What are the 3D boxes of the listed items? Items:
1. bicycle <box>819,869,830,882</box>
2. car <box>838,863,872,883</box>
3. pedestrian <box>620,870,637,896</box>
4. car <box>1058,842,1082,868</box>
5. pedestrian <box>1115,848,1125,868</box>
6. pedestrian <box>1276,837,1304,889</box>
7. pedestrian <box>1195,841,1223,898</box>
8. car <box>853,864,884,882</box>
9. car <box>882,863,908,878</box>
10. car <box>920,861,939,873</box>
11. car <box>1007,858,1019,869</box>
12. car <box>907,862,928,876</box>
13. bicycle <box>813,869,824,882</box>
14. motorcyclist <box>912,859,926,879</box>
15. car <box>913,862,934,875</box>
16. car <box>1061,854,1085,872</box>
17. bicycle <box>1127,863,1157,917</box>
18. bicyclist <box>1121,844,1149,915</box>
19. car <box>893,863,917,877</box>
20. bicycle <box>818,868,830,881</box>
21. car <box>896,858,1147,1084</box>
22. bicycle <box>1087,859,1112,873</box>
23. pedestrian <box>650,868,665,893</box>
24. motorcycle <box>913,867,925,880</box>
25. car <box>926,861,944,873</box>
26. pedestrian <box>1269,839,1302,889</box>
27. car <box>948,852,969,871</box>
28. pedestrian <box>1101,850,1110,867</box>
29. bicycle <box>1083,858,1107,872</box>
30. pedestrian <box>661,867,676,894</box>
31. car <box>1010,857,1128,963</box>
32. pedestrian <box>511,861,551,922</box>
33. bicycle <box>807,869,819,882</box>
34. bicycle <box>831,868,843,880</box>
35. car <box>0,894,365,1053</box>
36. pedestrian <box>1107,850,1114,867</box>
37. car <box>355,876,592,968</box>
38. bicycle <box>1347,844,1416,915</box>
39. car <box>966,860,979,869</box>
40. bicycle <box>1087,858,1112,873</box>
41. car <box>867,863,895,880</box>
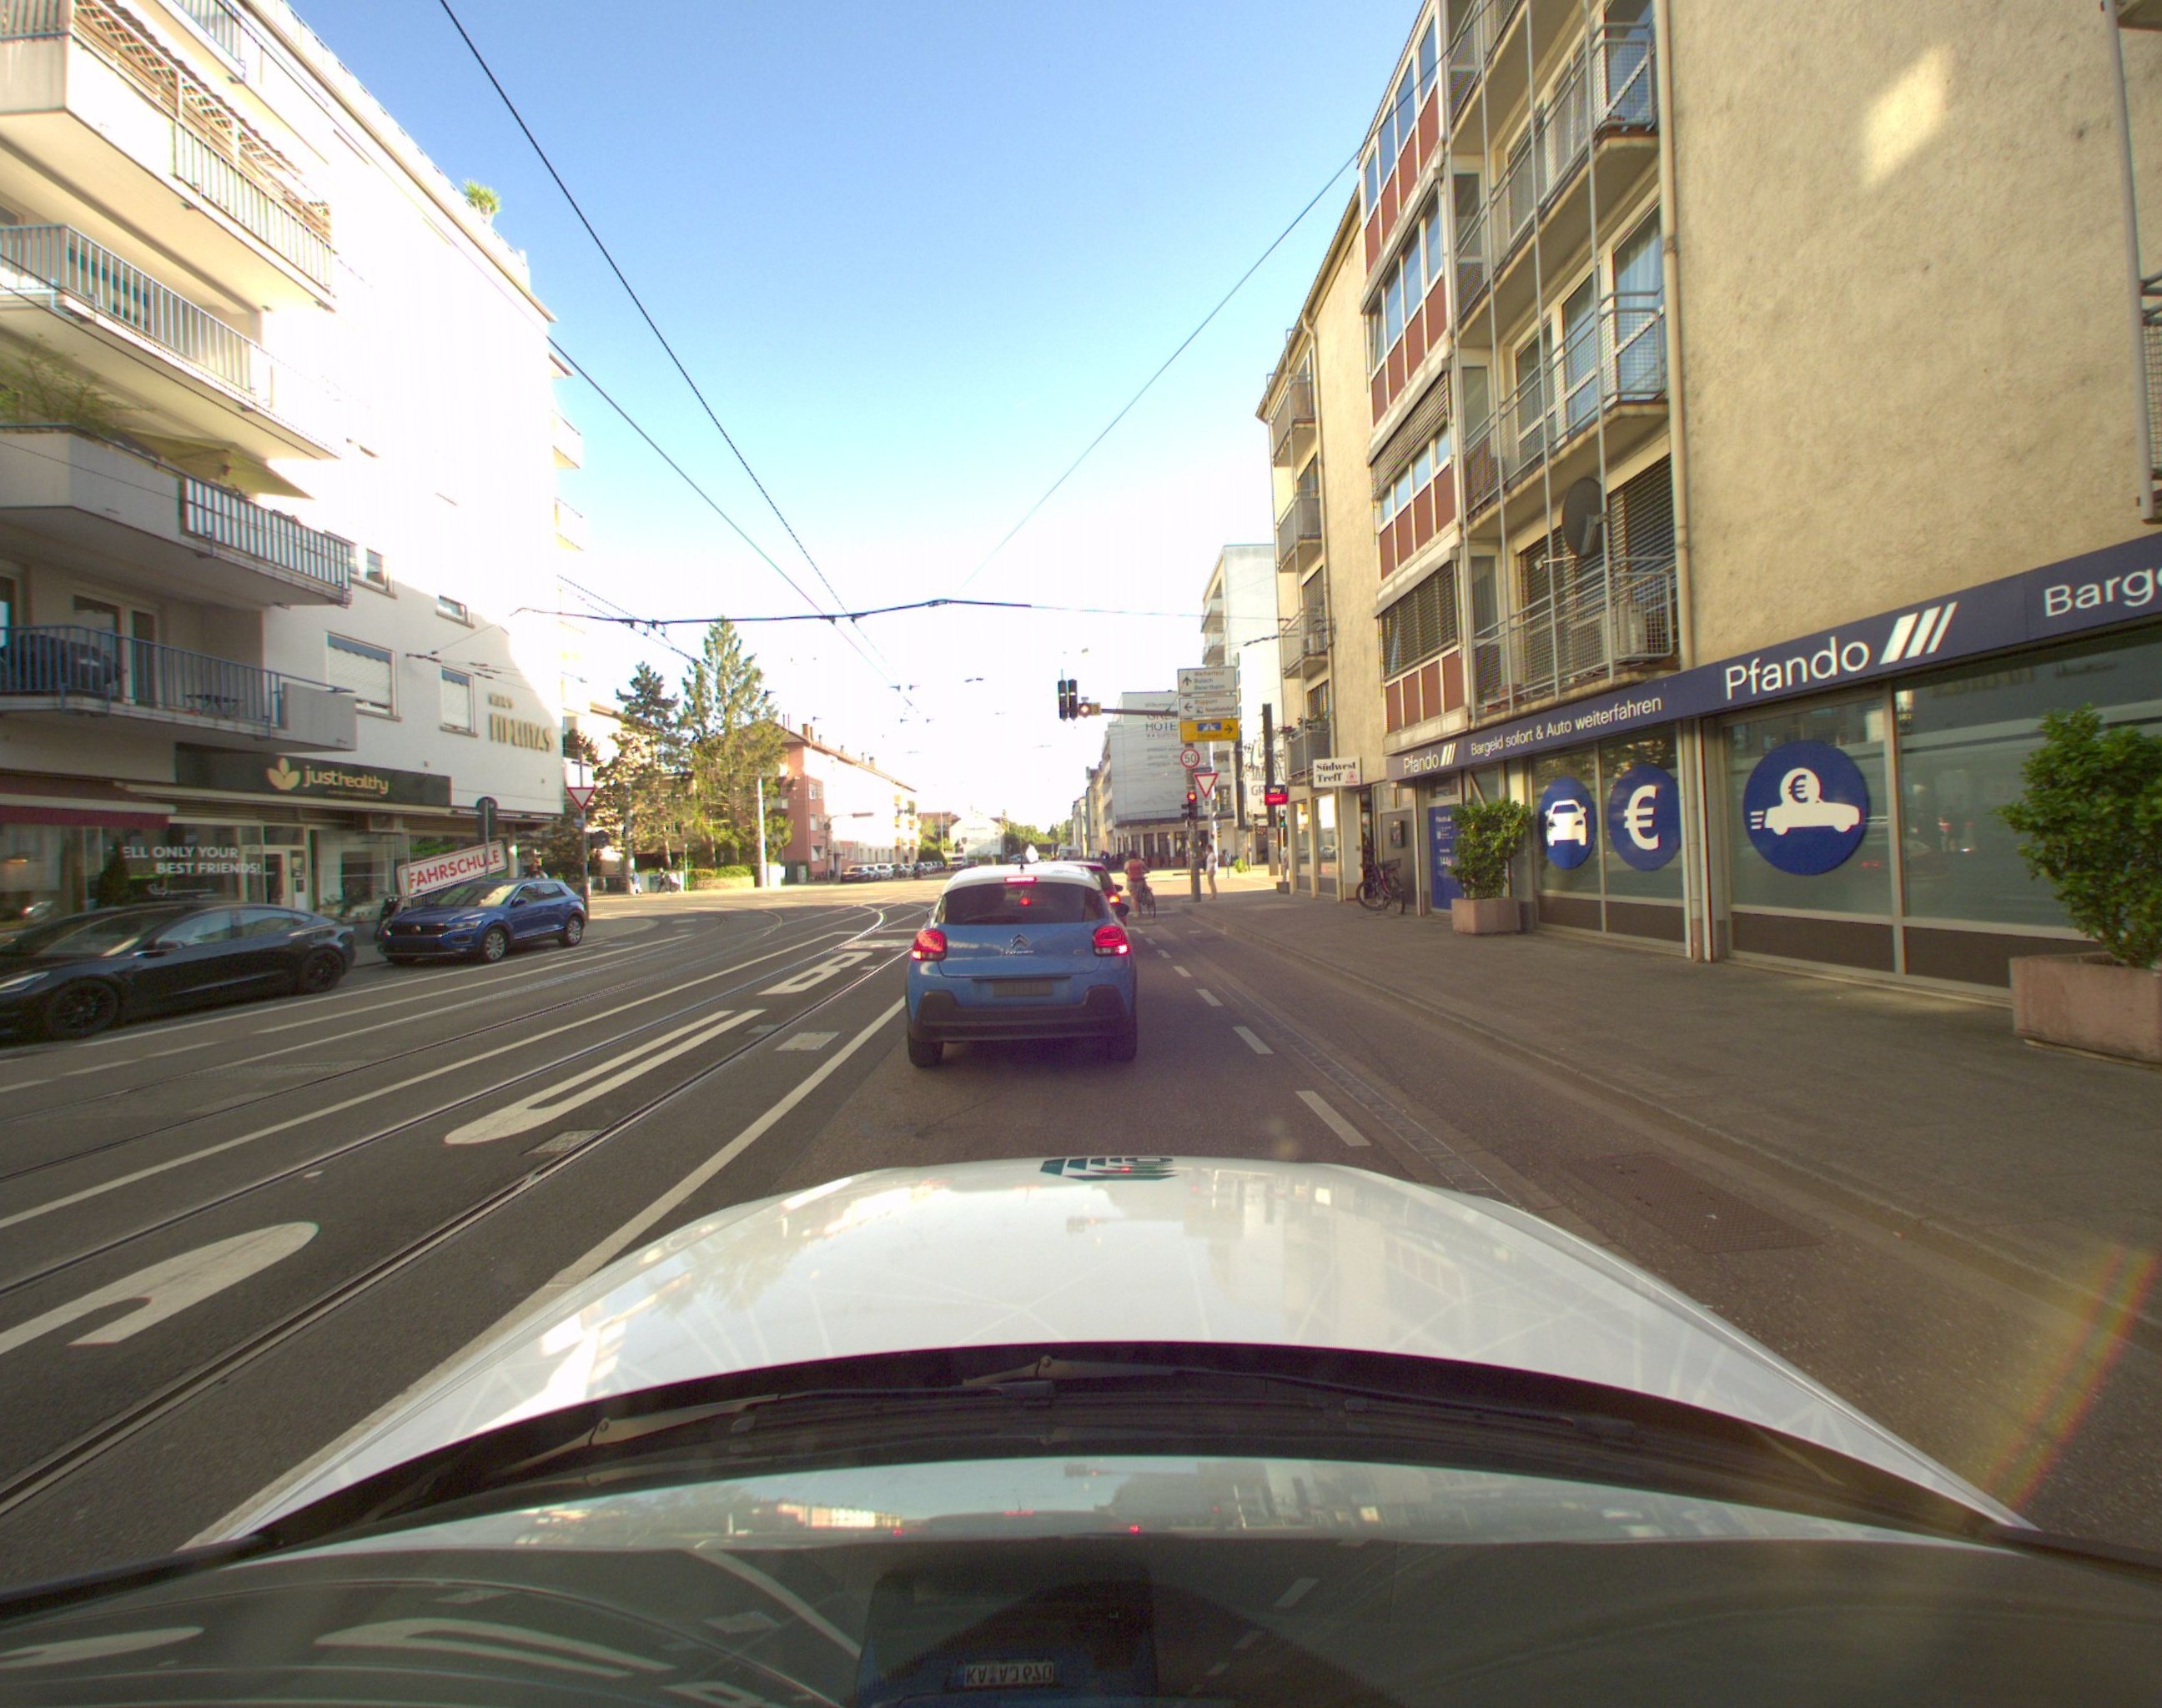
[{"bbox_3d":[-21.595,1.792,68.473,0.537,1.082,1.905,-2,0,-9],"label":"bicycle"},{"bbox_3d":[-19.290,1.599,69.620,1.947,1.519,3.995,-2,0,-4],"label":"car"},{"bbox_3d":[-31.051,1.973,55.946,0.810,1.702,0.677,-2,0,-15],"label":"pedestrian"},{"bbox_3d":[-1.038,0.085,73.449,2.074,2.269,5.647,-1,0,-2],"label":"car"},{"bbox_3d":[3.356,0.342,70.224,0.558,1.647,0.532,-2,0,-42],"label":"pedestrian"},{"bbox_3d":[6.803,0.296,26.530,0.731,1.647,0.757,-2,0,21],"label":"pedestrian"},{"bbox_3d":[3.842,0.455,24.417,0.747,1.635,0.742,-2,0,7],"label":"pedestrian"},{"bbox_3d":[-19.571,1.716,75.244,1.947,1.519,4.040,-2,0,-4],"label":"car"},{"bbox_3d":[-19.730,1.737,86.529,1.947,1.519,3.995,-2,0,-4],"label":"car"},{"bbox_3d":[-20.300,1.769,109.328,1.947,1.519,3.995,-2,0,-4],"label":"car"},{"bbox_3d":[-14.271,1.972,171.412,2.333,2.039,5.044,-2,0,-4],"label":"car"},{"bbox_3d":[-19.853,1.782,99.026,1.947,1.519,3.995,-2,0,-4],"label":"car"},{"bbox_3d":[-21.973,1.792,68.188,0.537,1.082,1.905,-2,0,-9],"label":"bicycle"},{"bbox_3d":[-13.473,1.268,67.694,0.990,1.631,0.737,-2,0,-7],"label":"motorcyclist"},{"bbox_3d":[-20.099,1.797,104.039,1.947,1.519,3.995,-2,0,-4],"label":"car"},{"bbox_3d":[-0.715,0.741,67.988,1.783,1.359,3.909,-2,0,-4],"label":"car"},{"bbox_3d":[1.536,0.889,20.728,0.611,1.264,1.911,-2,0,2],"label":"bicycle"},{"bbox_3d":[1.372,0.635,20.695,0.598,1.746,1.084,-2,0,2],"label":"bicyclist"},{"bbox_3d":[-19.982,1.787,92.596,1.947,1.519,3.995,-2,0,-4],"label":"car"},{"bbox_3d":[-23.049,1.840,73.107,0.536,1.082,1.908,-2,0,-4],"label":"bicycle"},{"bbox_3d":[-0.448,0.793,7.501,1.675,1.462,3.997,-1,0,-2],"label":"car"},{"bbox_3d":[1.526,0.960,67.243,1.901,1.064,0.641,-2,0,-6],"label":"bicycle"},{"bbox_3d":[-28.808,1.802,55.390,0.812,1.702,0.629,-2,0,-22],"label":"pedestrian"},{"bbox_3d":[-13.483,1.596,67.762,0.751,0.976,2.092,-2,0,-7],"label":"motorcycle"},{"bbox_3d":[-20.727,1.848,115.684,1.947,1.519,3.995,-2,0,-4],"label":"car"},{"bbox_3d":[6.986,0.329,27.795,0.705,1.647,0.732,-2,0,-34],"label":"pedestrian"},{"bbox_3d":[-18.129,1.099,120.576,2.489,2.712,5.828,-2,0,-5],"label":"car"},{"bbox_3d":[2.104,0.395,70.381,0.520,1.420,0.550,-3,0,22],"label":"pedestrian"},{"bbox_3d":[1.160,0.952,68.446,1.901,1.064,0.641,-2,0,-6],"label":"bicycle"},{"bbox_3d":[-27.748,1.777,54.813,0.812,1.702,0.602,-2,0,-22],"label":"pedestrian"},{"bbox_3d":[-0.223,0.812,13.710,1.675,1.462,3.997,-1,0,-2],"label":"car"},{"bbox_3d":[-17.284,1.171,25.597,0.761,1.834,0.725,-3,0,28],"label":"pedestrian"},{"bbox_3d":[-22.380,1.792,68.078,0.640,1.082,1.905,-2,0,-9],"label":"bicycle"},{"bbox_3d":[-22.716,1.858,75.803,0.608,1.082,1.908,-2,0,-4],"label":"bicycle"},{"bbox_3d":[-11.980,1.333,10.423,1.720,1.403,4.486,0,0,-2],"label":"car"},{"bbox_3d":[2.524,0.379,70.119,0.467,1.420,0.524,-2,0,-11],"label":"pedestrian"},{"bbox_3d":[-11.875,1.246,16.326,1.720,1.505,4.113,0,0,-2],"label":"car"},{"bbox_3d":[5.762,0.459,15.741,0.637,1.264,1.911,-2,0,2],"label":"bicycle"},{"bbox_3d":[-19.341,1.810,145.245,1.947,1.519,3.995,-2,0,-4],"label":"car"},{"bbox_3d":[1.517,0.930,65.937,1.901,1.064,0.641,-2,0,-6],"label":"bicycle"},{"bbox_3d":[-19.560,1.682,79.856,1.947,1.519,3.995,-2,0,-4],"label":"car"}]
